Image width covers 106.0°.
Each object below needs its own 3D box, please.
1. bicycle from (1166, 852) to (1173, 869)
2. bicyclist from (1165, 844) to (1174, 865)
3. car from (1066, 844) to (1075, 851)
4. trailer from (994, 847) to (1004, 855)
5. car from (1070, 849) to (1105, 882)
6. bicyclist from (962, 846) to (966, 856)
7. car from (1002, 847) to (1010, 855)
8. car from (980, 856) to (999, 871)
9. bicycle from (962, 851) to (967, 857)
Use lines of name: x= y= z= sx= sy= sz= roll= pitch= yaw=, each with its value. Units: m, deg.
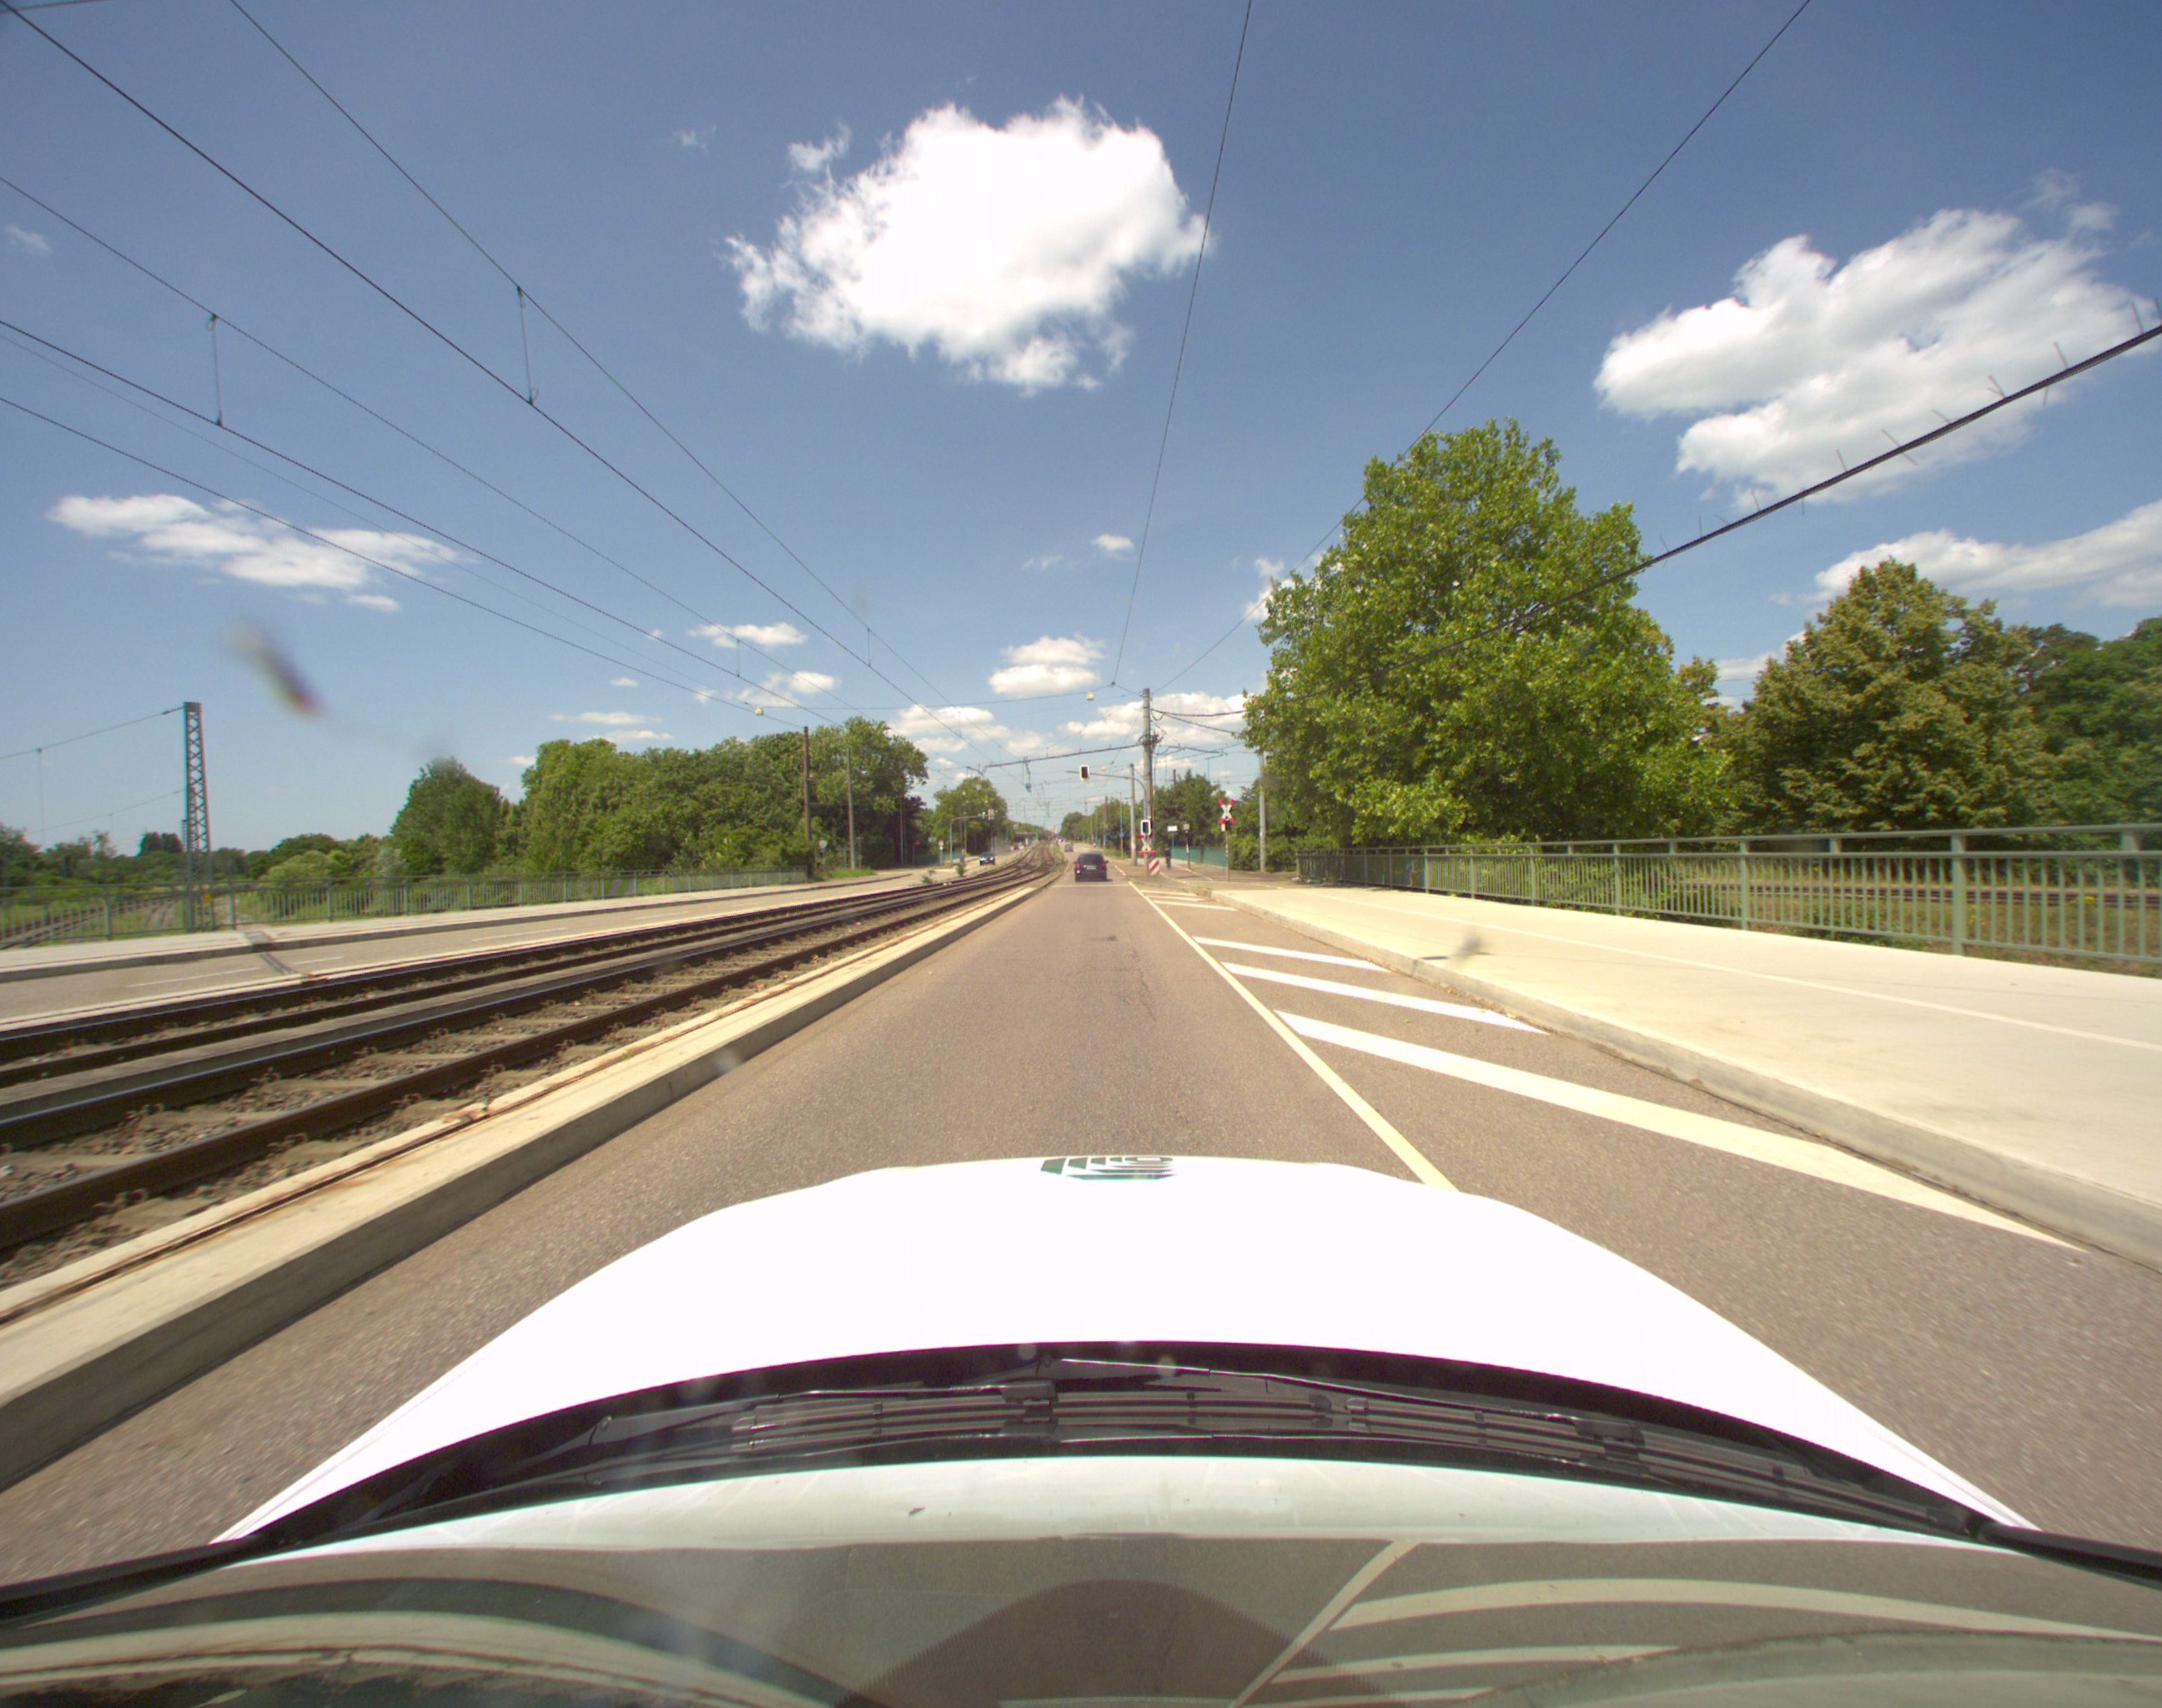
bicycle: x=6.375 y=0.435 z=58.811 sx=0.430 sy=1.152 sz=1.856 roll=0 pitch=2 yaw=3
bicyclist: x=6.365 y=0.046 z=58.749 sx=0.583 sy=1.494 sz=0.558 roll=0 pitch=2 yaw=2
car: x=-2.501 y=-1.527 z=188.586 sx=1.877 sy=1.639 sz=4.003 roll=2 pitch=2 yaw=2
trailer: x=-19.297 y=-0.756 z=191.433 sx=2.459 sy=1.888 sz=5.949 roll=-1 pitch=1 yaw=-7
car: x=0.383 y=0.588 z=45.490 sx=1.846 sy=1.570 sz=4.390 roll=0 pitch=3 yaw=1
bicyclist: x=-18.284 y=-0.498 z=127.635 sx=0.455 sy=1.474 sz=0.633 roll=-1 pitch=0 yaw=0
car: x=-20.666 y=-0.837 z=224.814 sx=1.988 sy=2.013 sz=3.998 roll=-2 pitch=0 yaw=-1
car: x=-10.941 y=1.127 z=97.280 sx=1.698 sy=1.510 sz=3.736 roll=-2 pitch=1 yaw=2
bicycle: x=-18.296 y=0.000 z=127.492 sx=0.467 sy=0.868 sz=1.743 roll=-1 pitch=1 yaw=0
